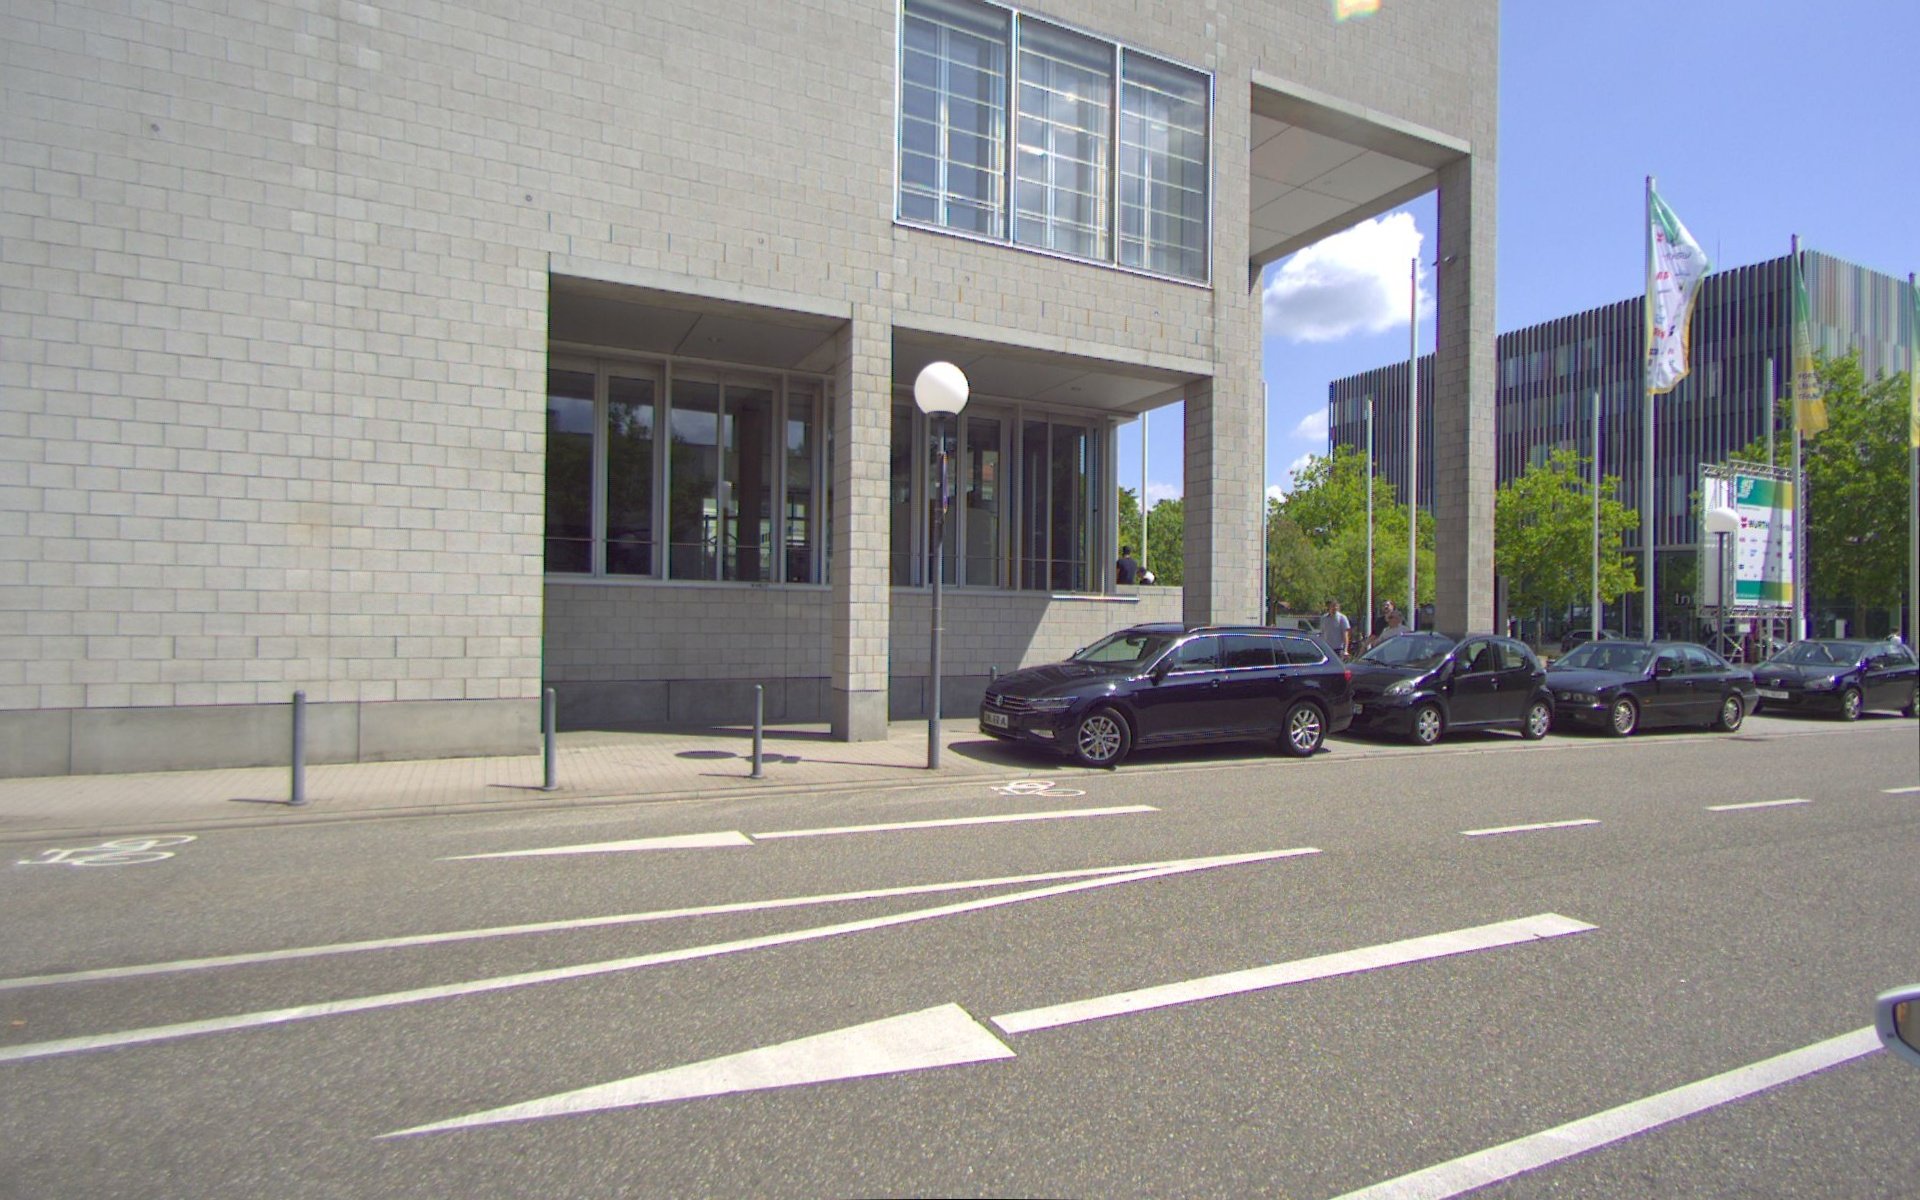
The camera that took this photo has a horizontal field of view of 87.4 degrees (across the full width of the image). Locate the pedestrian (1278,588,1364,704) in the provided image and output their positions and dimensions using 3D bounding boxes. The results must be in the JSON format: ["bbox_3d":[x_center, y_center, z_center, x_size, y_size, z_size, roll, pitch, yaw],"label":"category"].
[{"bbox_3d":[6.631,0.831,18.455,1.151,2.040,0.979,1,-1,-30],"label":"pedestrian"}]

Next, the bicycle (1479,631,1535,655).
[{"bbox_3d":[28.049,2.198,51.584,0.657,1.128,2.598,2,-1,-27],"label":"bicycle"}]

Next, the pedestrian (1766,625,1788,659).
[{"bbox_3d":[63.725,3.286,78.307,1.001,2.599,0.969,2,0,-26],"label":"pedestrian"}]

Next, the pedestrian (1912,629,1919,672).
[{"bbox_3d":[42.732,2.236,44.117,0.987,1.901,0.855,1,-1,-3],"label":"pedestrian"}]

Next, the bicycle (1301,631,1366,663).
[{"bbox_3d":[17.816,2.256,47.914,2.908,1.430,1.060,2,-1,-21],"label":"bicycle"}]

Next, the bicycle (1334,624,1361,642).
[{"bbox_3d":[42.182,3.618,109.345,2.912,1.863,0.956,2,0,-26],"label":"bicycle"}]

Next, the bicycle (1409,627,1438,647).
[{"bbox_3d":[46.361,3.688,100.437,2.912,1.863,0.983,2,0,-26],"label":"bicycle"}]

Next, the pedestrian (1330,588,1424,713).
[{"bbox_3d":[7.103,0.836,17.117,1.151,2.040,0.979,1,-1,-30],"label":"pedestrian"}]

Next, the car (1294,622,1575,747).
[{"bbox_3d":[6.660,1.111,14.073,3.658,1.487,1.633,2,1,-27],"label":"car"}]

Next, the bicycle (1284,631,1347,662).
[{"bbox_3d":[17.378,2.253,49.055,2.908,1.430,1.060,2,-1,-21],"label":"bicycle"}]

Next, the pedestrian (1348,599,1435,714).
[{"bbox_3d":[7.954,1.014,18.543,1.151,2.040,0.979,1,-1,-30],"label":"pedestrian"}]

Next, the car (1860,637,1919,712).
[{"bbox_3d":[21.537,1.615,21.749,3.858,1.487,1.671,2,1,-26],"label":"car"}]

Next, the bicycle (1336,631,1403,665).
[{"bbox_3d":[18.664,2.186,45.748,2.908,1.430,1.012,2,-1,-21],"label":"bicycle"}]

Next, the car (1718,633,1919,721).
[{"bbox_3d":[16.925,1.446,19.512,4.139,1.487,1.743,2,1,-25],"label":"car"}]

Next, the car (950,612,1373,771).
[{"bbox_3d":[2.382,0.957,11.672,4.657,1.487,1.853,2,1,-27],"label":"car"}]

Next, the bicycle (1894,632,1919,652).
[{"bbox_3d":[64.383,2.833,67.811,1.179,1.253,2.947,1,-1,28],"label":"bicycle"}]

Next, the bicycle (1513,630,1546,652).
[{"bbox_3d":[50.871,3.677,89.721,2.909,1.863,0.957,2,0,-23],"label":"bicycle"}]

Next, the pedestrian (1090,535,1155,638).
[{"bbox_3d":[3.329,-0.253,20.626,0.898,2.040,0.974,2,0,-26],"label":"pedestrian"}]

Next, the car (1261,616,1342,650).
[{"bbox_3d":[20.771,1.990,61.312,1.842,1.965,4.743,1,-1,-27],"label":"car"}]

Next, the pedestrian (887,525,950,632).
[{"bbox_3d":[-0.814,-0.398,19.768,0.735,2.040,0.975,1,-1,43],"label":"pedestrian"}]

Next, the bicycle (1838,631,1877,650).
[{"bbox_3d":[61.731,2.755,69.125,1.353,1.253,2.947,1,-1,29],"label":"bicycle"}]

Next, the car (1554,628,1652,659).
[{"bbox_3d":[37.853,2.521,59.242,1.630,1.683,4.797,1,-1,-24],"label":"car"}]

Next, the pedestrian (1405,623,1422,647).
[{"bbox_3d":[43.054,3.288,95.288,1.113,2.205,0.969,2,0,-26],"label":"pedestrian"}]

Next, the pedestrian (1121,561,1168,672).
[{"bbox_3d":[4.152,0.372,22.596,0.748,2.454,0.735,0,-1,38],"label":"pedestrian"}]

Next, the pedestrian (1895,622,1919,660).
[{"bbox_3d":[66.209,2.840,70.234,0.958,2.599,1.013,1,0,28],"label":"pedestrian"}]

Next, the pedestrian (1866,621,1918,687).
[{"bbox_3d":[27.211,1.564,29.331,1.073,1.875,0.718,1,0,-23],"label":"pedestrian"}]

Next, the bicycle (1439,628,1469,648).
[{"bbox_3d":[47.753,3.684,97.095,2.912,1.863,0.956,2,0,-26],"label":"bicycle"}]

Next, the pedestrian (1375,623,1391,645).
[{"bbox_3d":[42.120,3.389,100.069,1.001,2.231,0.969,2,0,-26],"label":"pedestrian"}]

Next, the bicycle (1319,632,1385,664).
[{"bbox_3d":[18.261,2.222,46.810,2.908,1.430,1.060,2,-1,-21],"label":"bicycle"}]

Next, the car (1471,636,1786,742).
[{"bbox_3d":[10.711,1.346,16.046,4.947,1.396,1.854,2,1,-25],"label":"car"}]

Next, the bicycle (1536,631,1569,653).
[{"bbox_3d":[51.674,3.673,87.654,2.910,1.863,0.957,2,0,-24],"label":"bicycle"}]

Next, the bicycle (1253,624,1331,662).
[{"bbox_3d":[13.942,1.785,42.229,2.909,1.430,1.142,1,-1,42],"label":"bicycle"}]

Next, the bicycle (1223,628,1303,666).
[{"bbox_3d":[12.475,1.908,41.411,2.909,1.430,1.142,1,-1,42],"label":"bicycle"}]

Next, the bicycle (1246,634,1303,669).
[{"bbox_3d":[11.222,1.836,35.807,2.067,1.232,0.647,2,-1,-26],"label":"bicycle"}]

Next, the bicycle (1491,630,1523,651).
[{"bbox_3d":[50.007,3.679,91.796,2.909,1.863,0.957,2,0,-23],"label":"bicycle"}]

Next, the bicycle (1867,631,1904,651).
[{"bbox_3d":[62.969,2.779,68.363,1.179,1.253,2.946,1,-1,29],"label":"bicycle"}]

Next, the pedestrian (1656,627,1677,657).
[{"bbox_3d":[58.165,3.466,82.690,1.001,2.377,0.969,2,0,-26],"label":"pedestrian"}]

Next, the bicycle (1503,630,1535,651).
[{"bbox_3d":[50.469,3.678,90.681,2.909,1.863,0.957,2,0,-23],"label":"bicycle"}]

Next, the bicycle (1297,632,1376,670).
[{"bbox_3d":[15.817,2.120,42.263,2.909,1.430,1.060,1,-1,42],"label":"bicycle"}]

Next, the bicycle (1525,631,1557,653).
[{"bbox_3d":[51.295,3.675,88.676,2.910,1.863,0.957,2,0,-24],"label":"bicycle"}]

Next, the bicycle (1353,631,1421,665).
[{"bbox_3d":[19.017,2.150,44.718,2.908,1.430,1.012,2,-1,-21],"label":"bicycle"}]
